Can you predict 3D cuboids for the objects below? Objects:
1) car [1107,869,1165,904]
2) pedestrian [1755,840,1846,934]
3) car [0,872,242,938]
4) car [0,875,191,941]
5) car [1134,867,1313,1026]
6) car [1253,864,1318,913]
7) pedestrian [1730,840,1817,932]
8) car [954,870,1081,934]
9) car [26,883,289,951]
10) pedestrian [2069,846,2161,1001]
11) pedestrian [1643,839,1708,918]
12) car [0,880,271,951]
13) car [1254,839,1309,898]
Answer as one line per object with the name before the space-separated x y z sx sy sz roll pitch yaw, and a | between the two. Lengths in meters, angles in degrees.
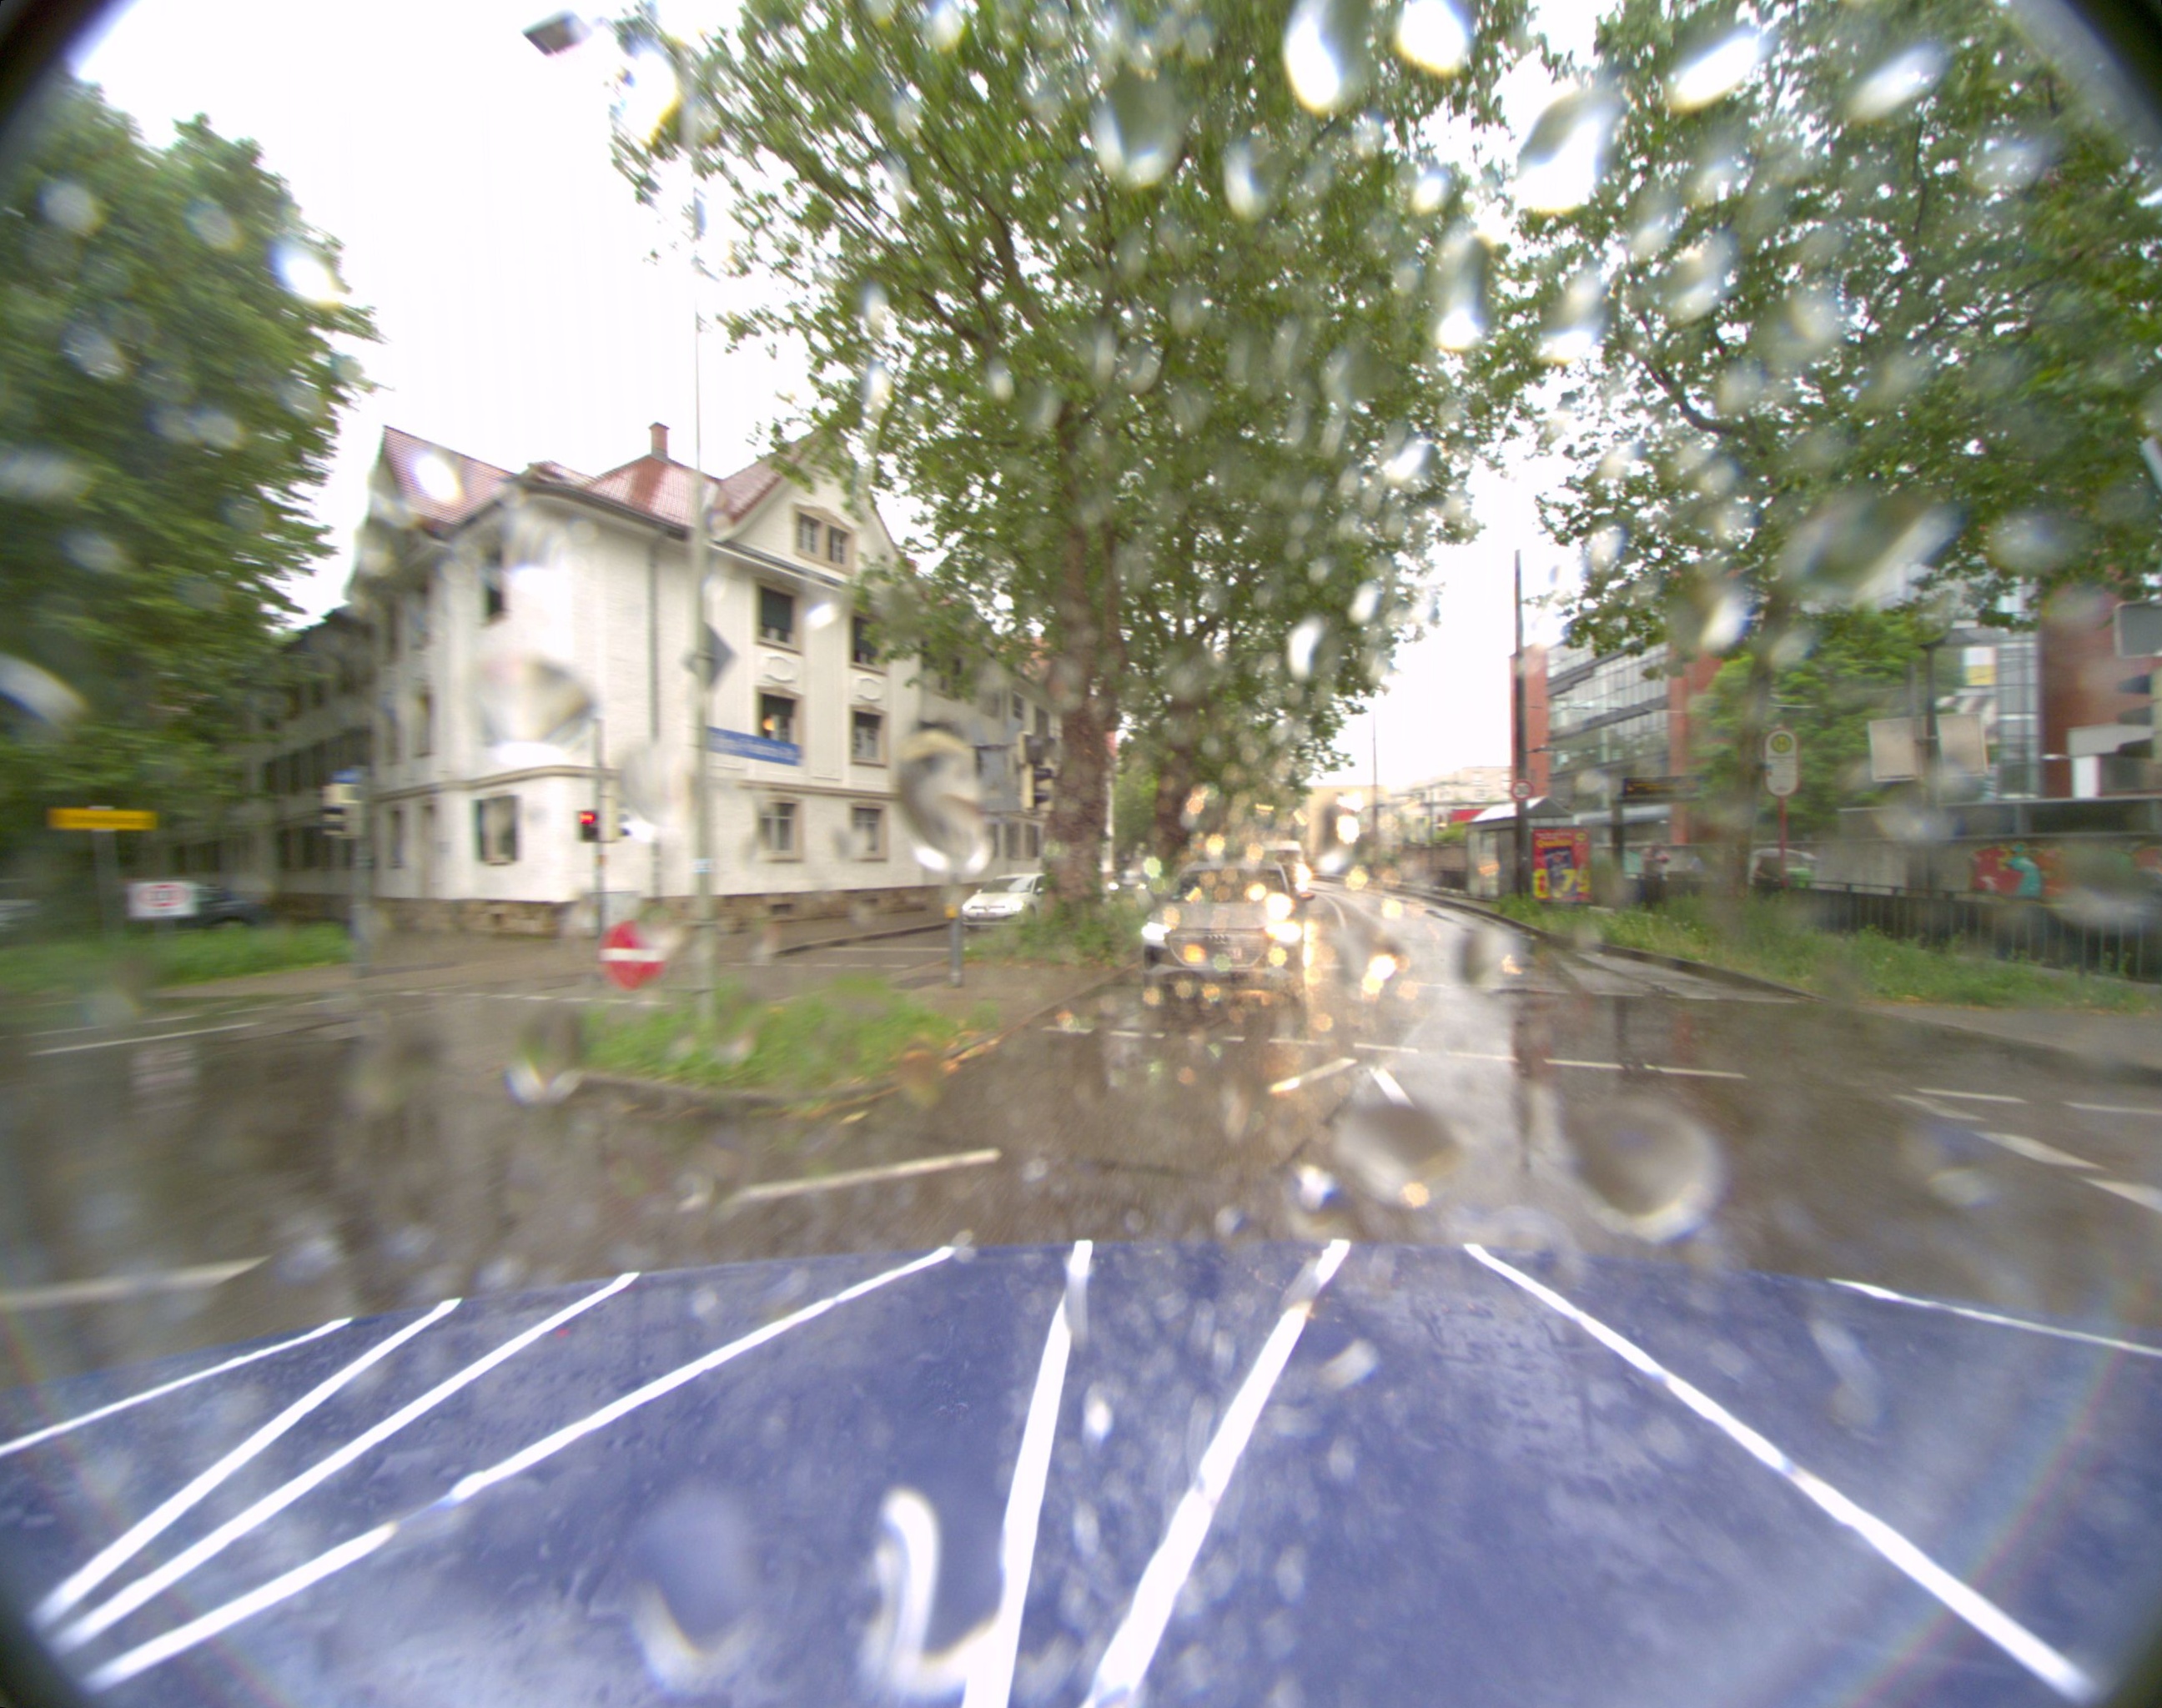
car | 2.677 1.516 36.368 1.925 1.412 3.669 -4 -1 17
pedestrian | 13.239 0.595 14.009 0.859 1.678 0.849 -1 -1 5
car | -27.979 1.391 22.042 2.028 1.680 4.682 -1 -1 35
car | -31.532 1.620 23.729 2.028 1.862 4.682 -1 -1 35
car | 1.944 0.986 9.917 1.807 1.611 4.142 -1 -1 14
car | 6.601 1.064 24.610 1.851 1.435 4.005 -1 -1 15
pedestrian | 13.097 0.605 14.393 0.859 1.678 0.849 -1 -1 5
car | -1.621 1.256 21.165 1.779 1.424 4.405 -4 -1 20
car | -23.377 1.508 19.404 1.792 1.346 4.007 -1 1 31
pedestrian | 12.200 0.756 8.609 0.859 1.678 0.849 -1 -1 5
pedestrian | 14.085 0.575 18.016 0.859 1.821 0.849 -1 -1 5
car | -25.775 1.569 20.742 1.925 1.612 4.751 -1 -1 33
car | 9.588 0.616 36.096 2.280 2.547 6.519 -1 0 16
